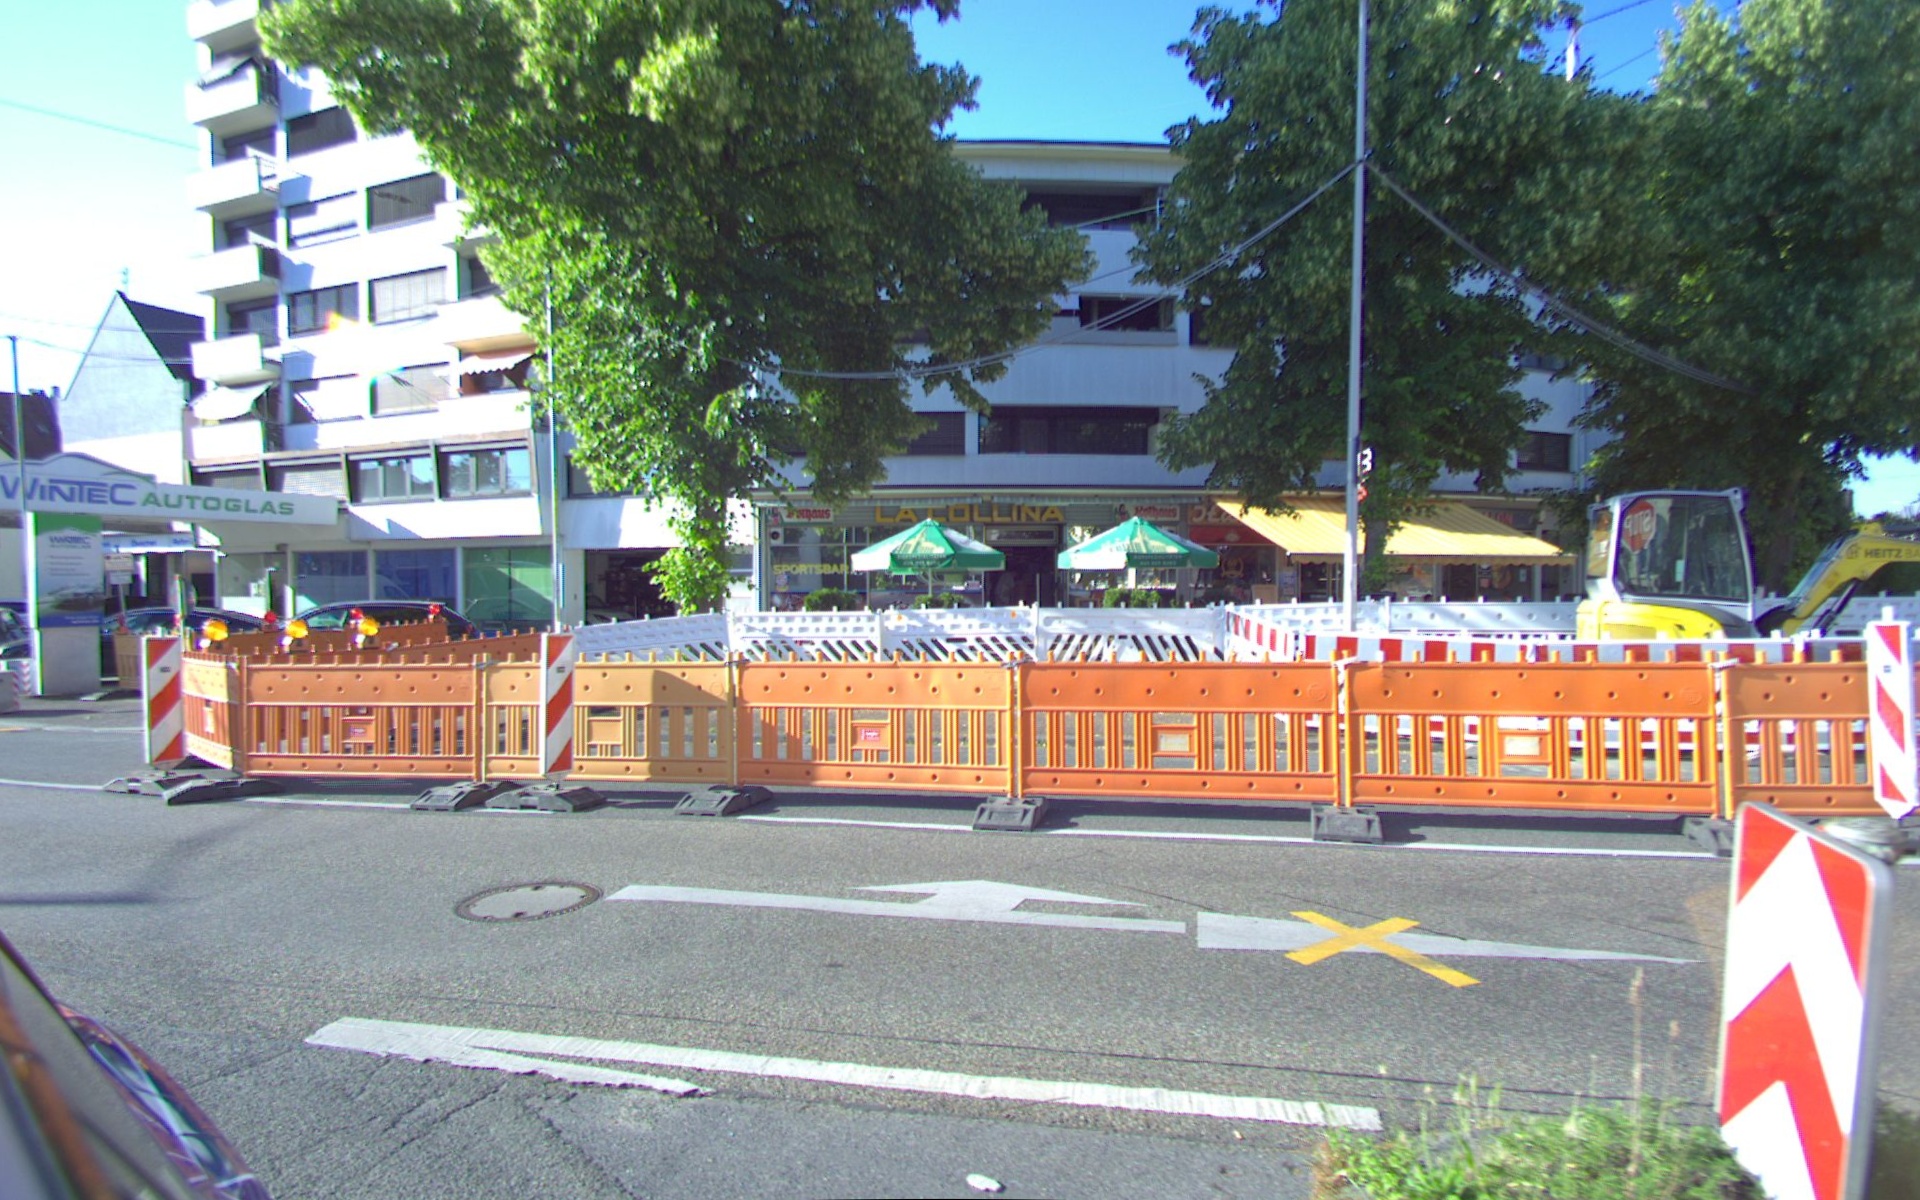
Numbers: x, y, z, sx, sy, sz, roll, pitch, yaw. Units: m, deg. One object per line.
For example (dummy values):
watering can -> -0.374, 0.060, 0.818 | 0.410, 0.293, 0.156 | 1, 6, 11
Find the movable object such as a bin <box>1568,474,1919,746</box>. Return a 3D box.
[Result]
movable object such as a bin -> 8.203, 0.091, 9.575 | 3.891, 2.342, 1.641 | -1, -1, 20

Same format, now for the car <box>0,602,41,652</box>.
car -> -40.402, 1.122, 41.613 | 1.441, 2.029, 3.648 | 0, 0, 21

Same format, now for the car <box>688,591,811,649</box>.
car -> -6.410, 0.562, 31.150 | 1.567, 1.620, 3.715 | 0, 1, 31

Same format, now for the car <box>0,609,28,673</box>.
car -> -23.305, 0.972, 23.549 | 1.515, 1.497, 3.384 | -1, 0, -27

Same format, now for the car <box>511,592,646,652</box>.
car -> -11.430, 0.638, 30.329 | 3.606, 1.686, 1.711 | 0, 0, 22

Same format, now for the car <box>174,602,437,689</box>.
car -> -11.958, 0.774, 18.650 | 1.597, 1.449, 3.828 | -1, -1, 44

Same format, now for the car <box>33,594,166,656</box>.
car -> -28.597, 0.793, 33.627 | 4.232, 1.958, 1.729 | 0, 0, 24

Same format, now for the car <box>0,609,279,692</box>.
car -> -15.988, 0.918, 19.406 | 4.607, 1.449, 1.939 | 0, -1, -24
